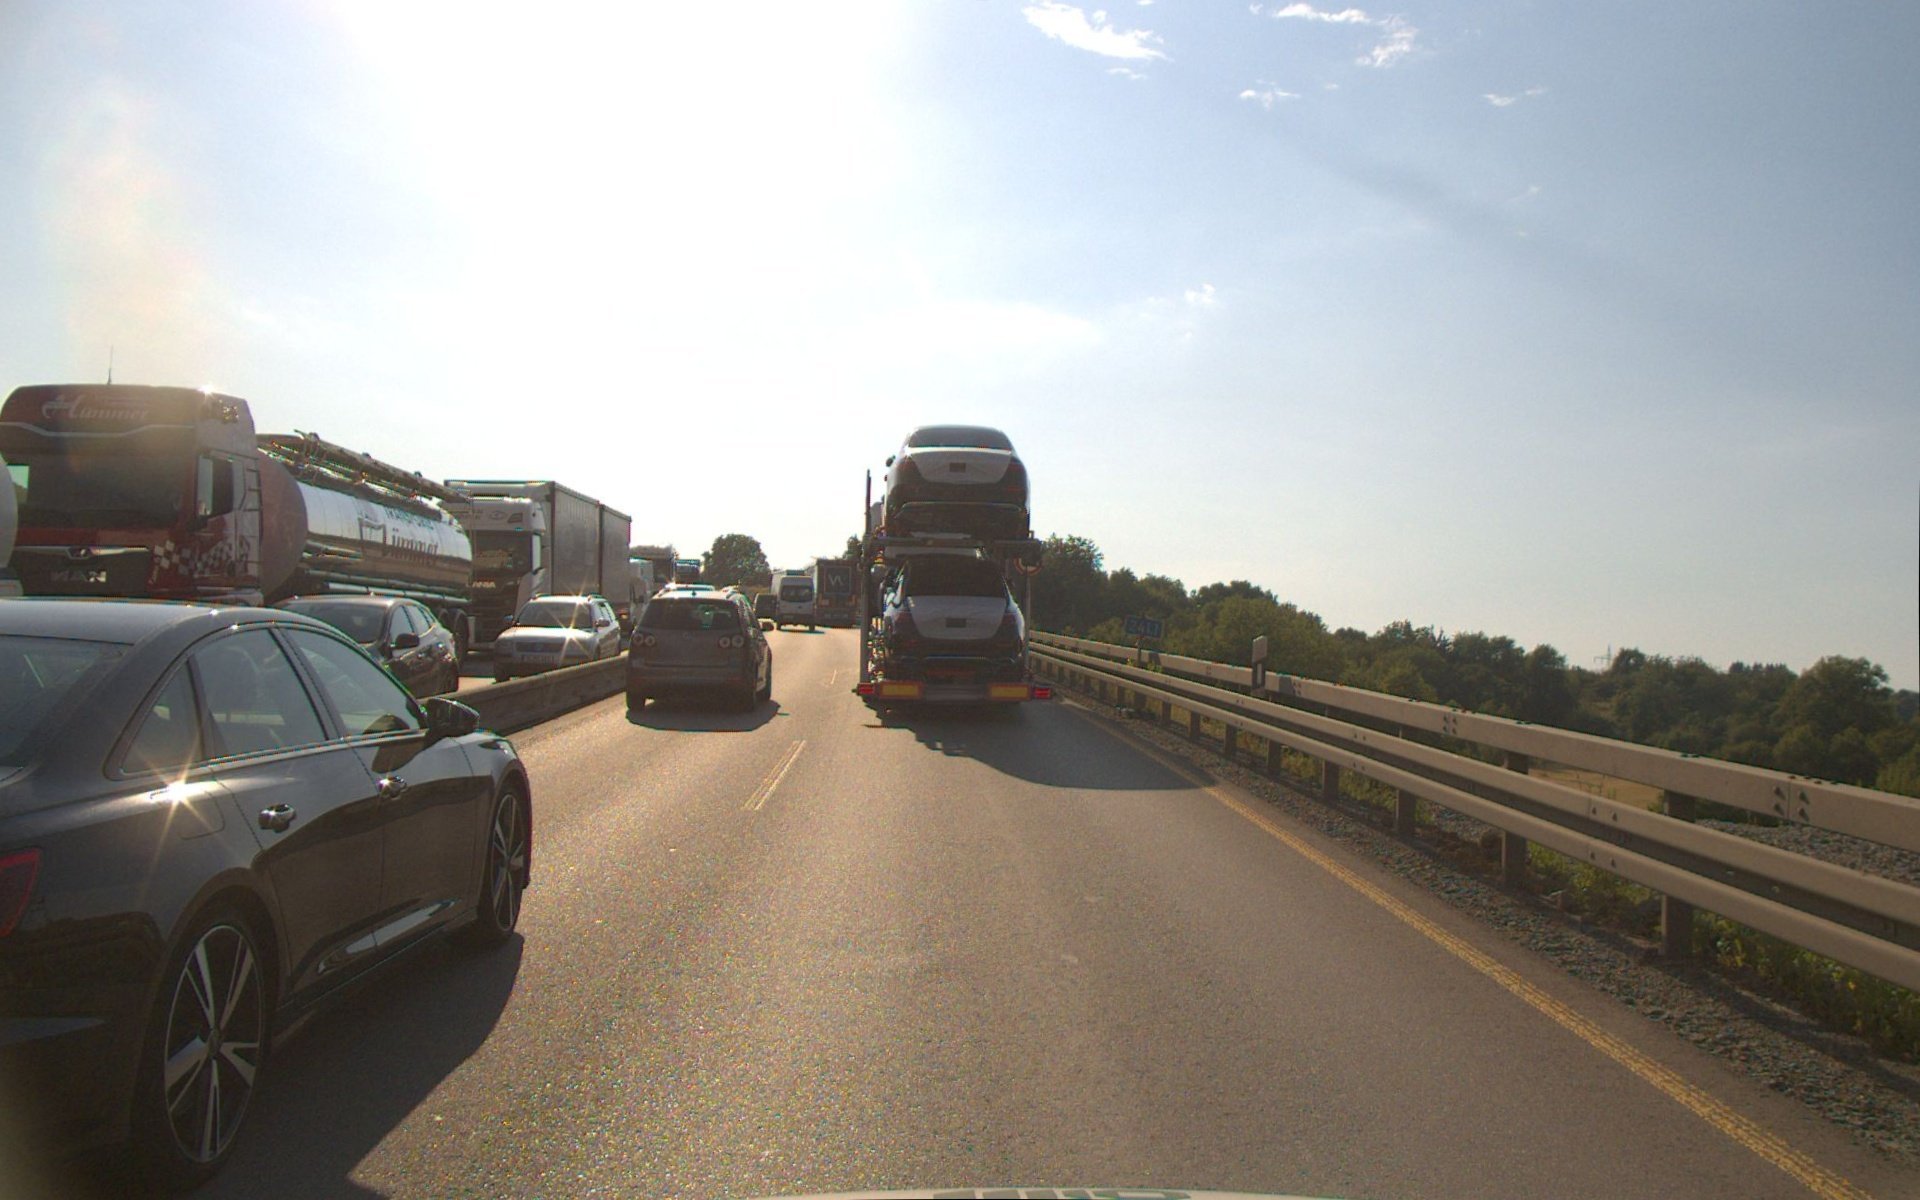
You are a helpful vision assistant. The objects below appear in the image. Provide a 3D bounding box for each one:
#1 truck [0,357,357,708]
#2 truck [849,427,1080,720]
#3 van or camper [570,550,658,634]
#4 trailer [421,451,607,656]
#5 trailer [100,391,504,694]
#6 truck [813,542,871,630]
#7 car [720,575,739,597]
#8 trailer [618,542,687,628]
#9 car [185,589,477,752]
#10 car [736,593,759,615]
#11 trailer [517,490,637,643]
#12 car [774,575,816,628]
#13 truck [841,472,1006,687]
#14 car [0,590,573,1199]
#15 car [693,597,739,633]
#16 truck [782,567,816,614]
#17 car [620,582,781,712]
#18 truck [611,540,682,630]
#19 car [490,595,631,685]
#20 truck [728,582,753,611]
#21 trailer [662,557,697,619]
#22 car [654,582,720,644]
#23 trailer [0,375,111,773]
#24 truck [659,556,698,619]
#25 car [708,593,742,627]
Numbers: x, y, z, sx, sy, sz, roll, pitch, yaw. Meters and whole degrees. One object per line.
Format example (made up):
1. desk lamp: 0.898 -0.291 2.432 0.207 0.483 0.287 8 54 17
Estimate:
1. truck: -9.806 -0.723 21.124 2.384 3.851 5.613 1 -1 -4
2. truck: -0.288 -0.282 25.606 2.744 3.558 10.595 1 -1 -4
3. van or camper: -12.837 -0.251 61.924 2.361 2.942 7.608 1 -1 -6
4. trailer: -10.808 -0.965 41.213 2.427 4.404 10.502 1 -1 -4
5. trailer: -10.099 -0.687 27.266 2.260 3.856 12.046 1 -1 -2
6. truck: -7.633 -0.804 105.904 3.223 5.328 9.921 1 -1 -7
7. car: -22.335 -1.340 160.098 1.600 2.049 3.990 1 -1 -10
8. trailer: -14.769 -0.620 80.316 2.472 3.790 13.954 1 -1 -7
9. car: -6.282 0.654 17.046 1.595 1.451 4.384 1 -1 -4
10. car: -18.688 0.364 145.512 1.790 1.803 3.997 1 -1 -4
11. trailer: -11.583 -0.897 50.721 2.395 4.262 8.534 1 -1 -5
12. car: -8.292 0.105 83.430 1.882 2.536 5.404 1 -1 -3
13. truck: -1.008 -0.323 35.014 2.783 3.858 9.975 1 -1 -5
14. car: -2.756 0.694 5.360 1.895 1.423 4.960 1 0 -1
15. car: -10.612 0.641 72.052 1.647 1.505 4.598 1 -1 -5
16. truck: -13.203 -0.736 136.147 2.481 3.712 8.897 1 -1 -4
17. car: -3.520 0.614 23.075 1.657 1.624 3.999 1 -1 -1
18. truck: -14.011 -0.621 74.343 2.551 3.820 6.507 1 -1 -6
19. car: -7.002 0.672 29.419 1.595 1.451 4.654 1 -1 -3
20. truck: -24.725 -0.353 186.688 2.540 3.226 6.668 1 -1 -6
21. trailer: -20.232 -0.782 119.640 2.264 4.203 14.568 1 -1 -9
22. car: -9.099 0.431 55.401 1.781 1.959 4.831 1 -1 -5
23. trailer: -9.289 -0.269 10.032 2.260 3.420 12.048 1 -1 -1
24. truck: -19.124 -0.830 112.625 2.457 4.137 5.653 1 -1 -9
25. car: -12.373 0.527 87.278 1.724 1.725 4.445 1 -1 -8
